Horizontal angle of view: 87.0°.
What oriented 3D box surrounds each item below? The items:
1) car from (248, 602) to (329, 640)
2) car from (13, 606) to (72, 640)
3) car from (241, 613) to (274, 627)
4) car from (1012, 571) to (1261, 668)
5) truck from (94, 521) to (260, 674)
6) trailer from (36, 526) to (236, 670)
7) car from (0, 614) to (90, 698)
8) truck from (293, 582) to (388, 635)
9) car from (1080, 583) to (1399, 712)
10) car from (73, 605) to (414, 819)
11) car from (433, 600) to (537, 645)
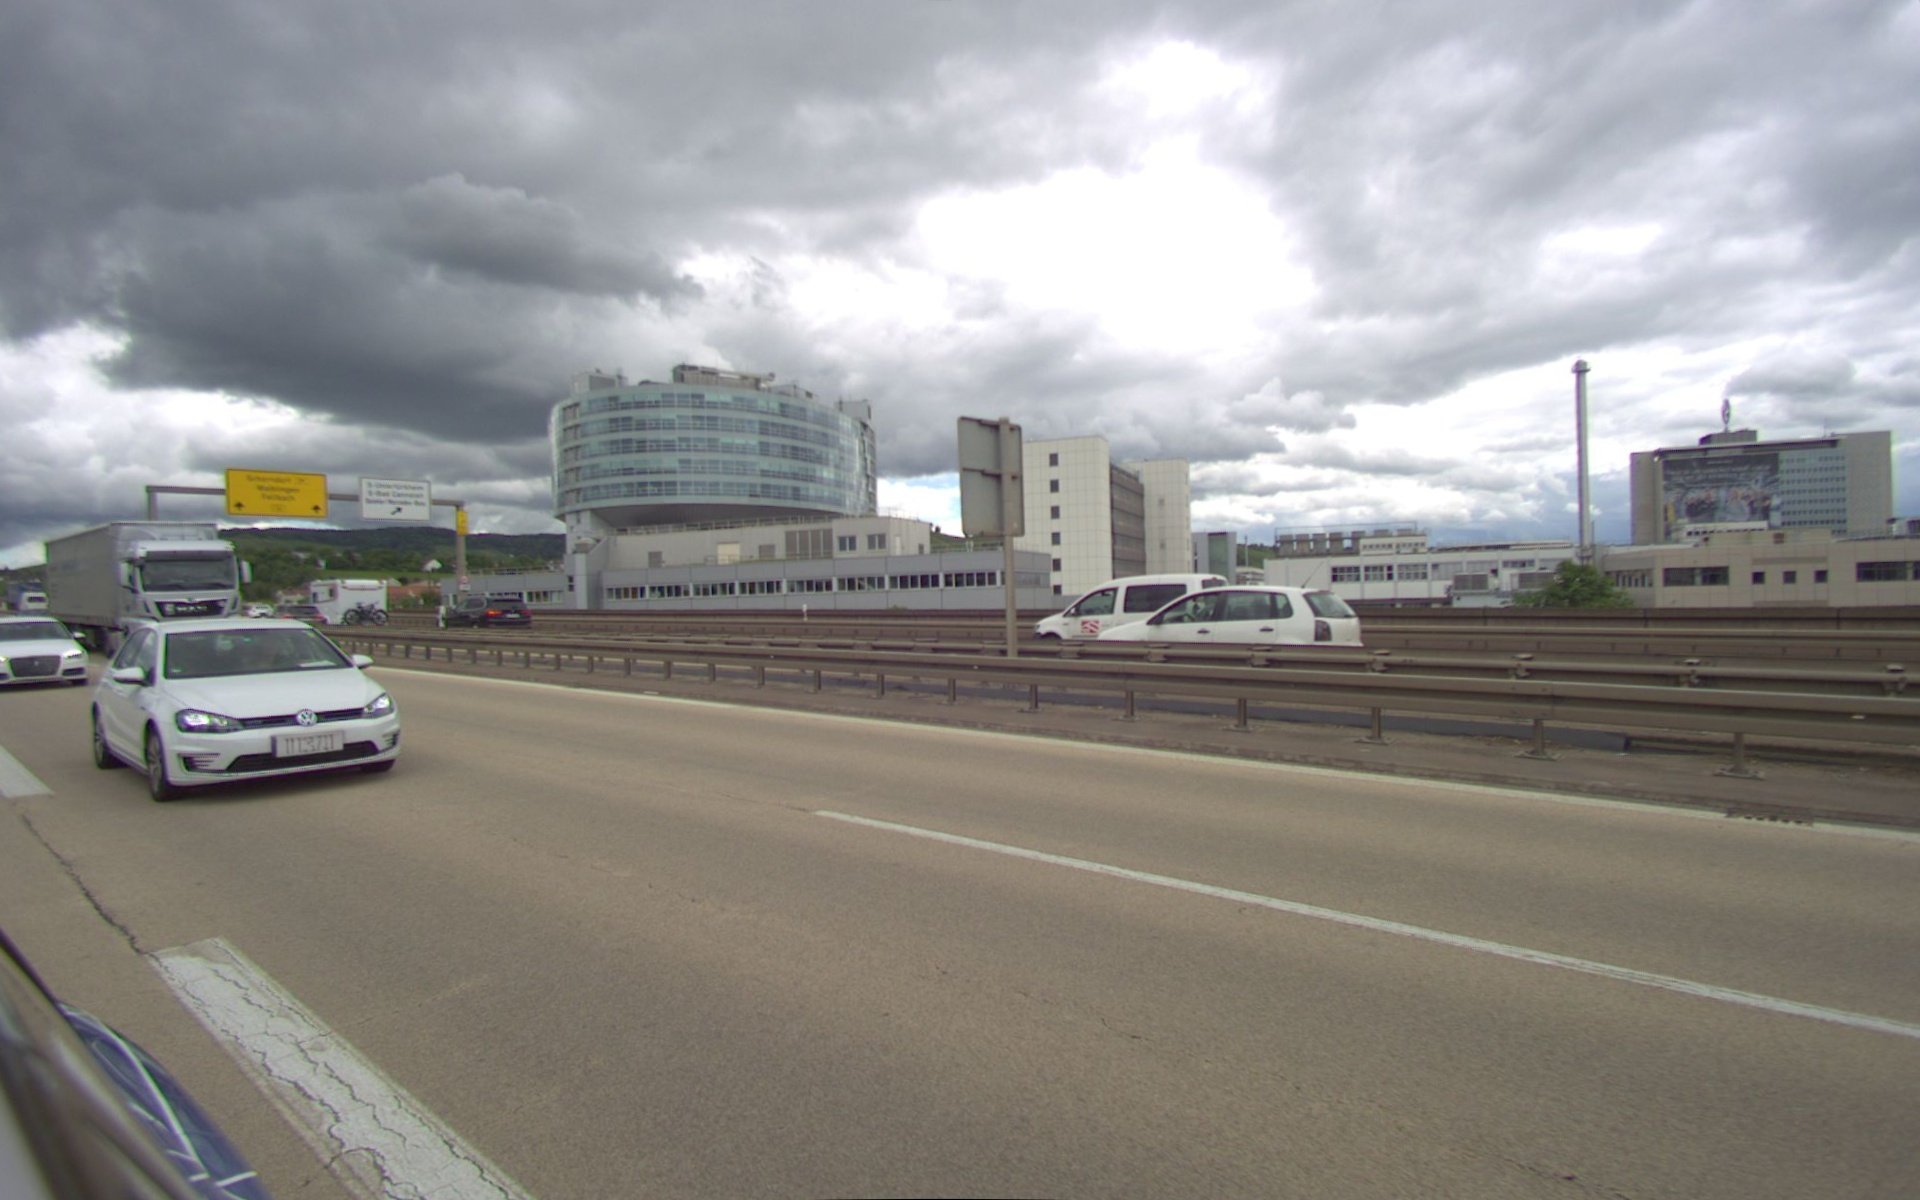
[{"bbox_3d":[-30.135,0.953,45.361,4.452,1.648,1.972,-2,-2,42],"label":"car"},{"bbox_3d":[-45.989,1.143,50.689,4.000,1.529,1.764,-1,3,43],"label":"car"},{"bbox_3d":[-65.044,1.895,93.669,4.282,1.244,1.624,-2,-2,44],"label":"car"},{"bbox_3d":[3.427,0.405,20.168,4.598,1.725,1.848,-2,-2,40],"label":"car"},{"bbox_3d":[-22.837,-0.115,29.468,4.789,4.041,2.827,0,2,41],"label":"truck"},{"bbox_3d":[-28.123,-0.081,34.111,13.967,4.041,2.827,0,2,41],"label":"trailer"},{"bbox_3d":[-19.463,1.109,20.907,4.000,1.529,1.764,-1,2,43],"label":"car"},{"bbox_3d":[-32.703,0.513,53.321,7.349,2.646,2.463,-2,-2,44],"label":"truck"},{"bbox_3d":[3.846,0.624,14.302,3.997,1.572,1.731,-2,-2,40],"label":"car"},{"bbox_3d":[-6.773,0.856,9.404,3.998,1.508,1.691,-1,1,42],"label":"car"},{"bbox_3d":[-18.602,0.879,39.548,4.629,1.648,1.973,-2,-2,41],"label":"car"}]
